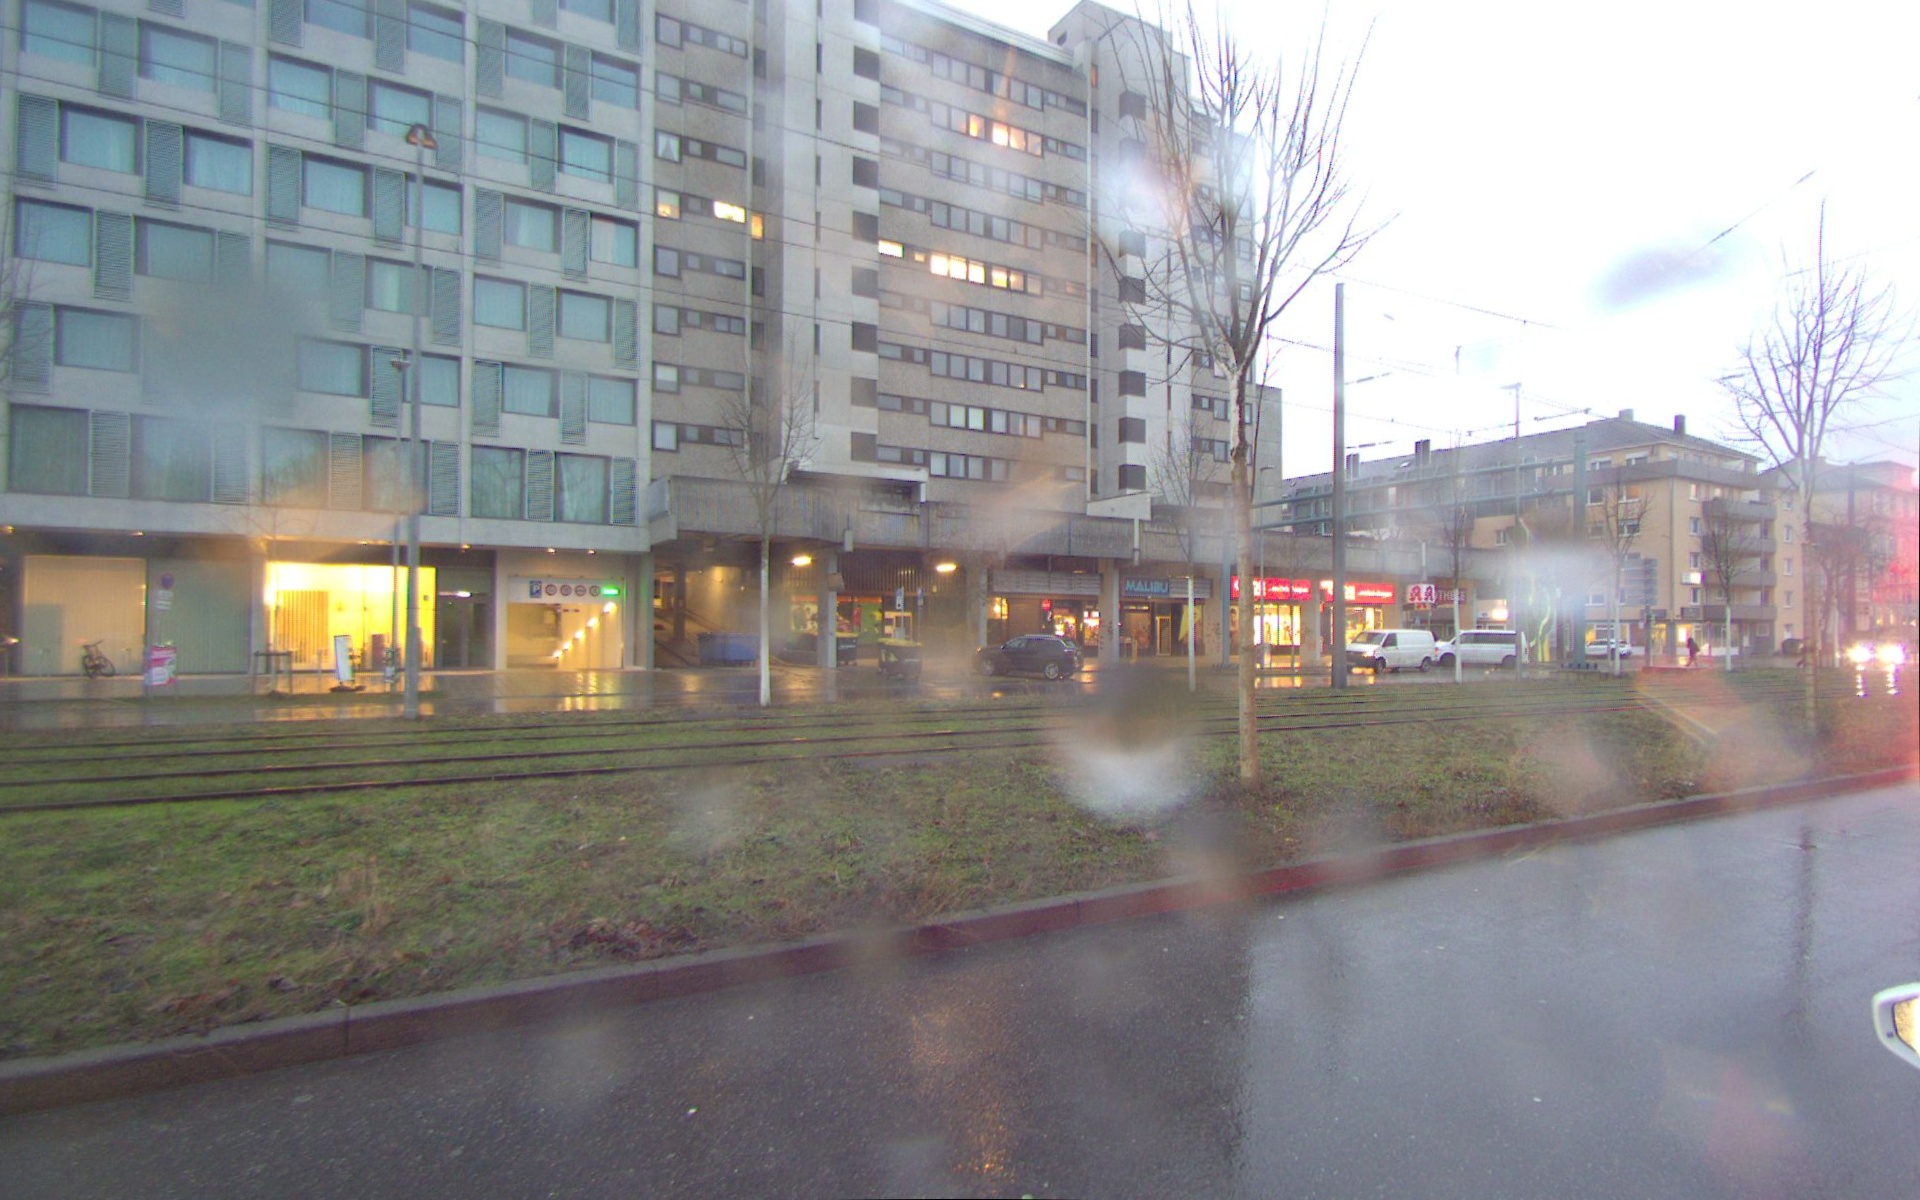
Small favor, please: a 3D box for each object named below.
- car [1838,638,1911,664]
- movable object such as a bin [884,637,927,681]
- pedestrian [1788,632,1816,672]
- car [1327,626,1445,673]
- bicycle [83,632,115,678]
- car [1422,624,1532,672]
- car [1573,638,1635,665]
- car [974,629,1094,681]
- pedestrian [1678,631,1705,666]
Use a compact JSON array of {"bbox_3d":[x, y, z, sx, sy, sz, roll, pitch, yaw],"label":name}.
[{"bbox_3d":[51.555,2.867,56.618,4.265,1.350,1.850,2,0,-31],"label":"car"},{"bbox_3d":[-1.893,2.029,35.013,1.023,1.445,1.061,2,0,-41],"label":"movable object such as a bin"},{"bbox_3d":[43.452,2.691,51.827,0.999,2.040,0.951,2,-2,-40],"label":"pedestrian"},{"bbox_3d":[20.050,2.336,47.212,5.491,2.073,1.987,2,0,-26],"label":"car"},{"bbox_3d":[-25.145,1.590,29.347,0.460,1.255,1.527,2,0,-31],"label":"bicycle"},{"bbox_3d":[27.144,2.503,52.907,4.734,2.274,2.001,2,0,15],"label":"car"},{"bbox_3d":[51.331,4.069,80.128,1.826,1.968,3.720,2,0,-37],"label":"car"},{"bbox_3d":[2.823,2.047,38.335,4.066,1.715,1.982,2,0,28],"label":"car"},{"bbox_3d":[43.099,2.836,59.176,1.253,2.040,1.004,-1,-2,36],"label":"pedestrian"}]
